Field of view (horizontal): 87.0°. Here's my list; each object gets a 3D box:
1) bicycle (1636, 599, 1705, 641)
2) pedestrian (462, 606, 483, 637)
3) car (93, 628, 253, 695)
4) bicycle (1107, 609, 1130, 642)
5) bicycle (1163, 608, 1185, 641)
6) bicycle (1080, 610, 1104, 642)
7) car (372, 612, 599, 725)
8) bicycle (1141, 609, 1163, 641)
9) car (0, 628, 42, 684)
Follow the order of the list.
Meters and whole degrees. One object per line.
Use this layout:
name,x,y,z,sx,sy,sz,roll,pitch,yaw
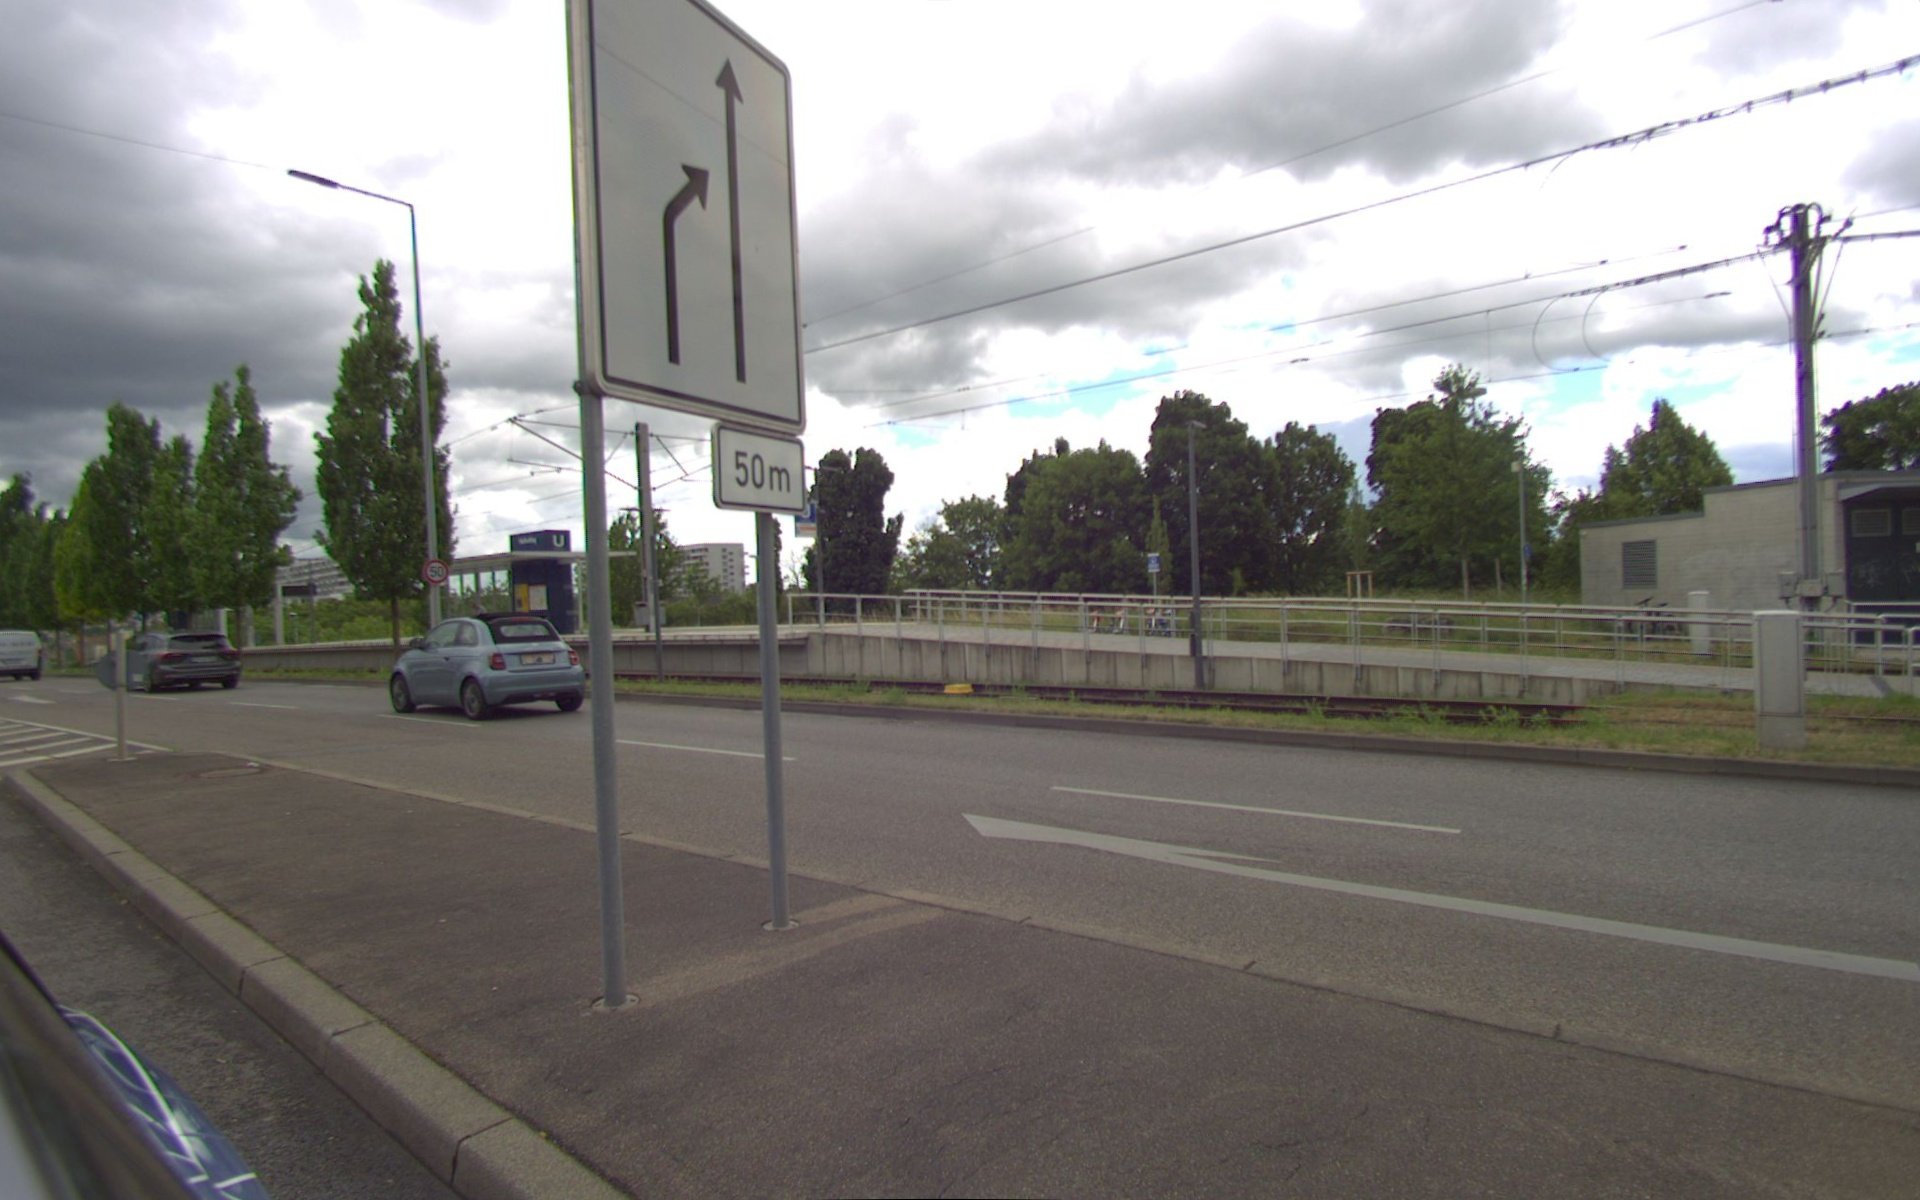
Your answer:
bicycle,18.291,0.504,26.101,0.529,1.039,1.813,-1,0,1
pedestrian,-18.282,0.806,37.941,0.447,1.163,0.593,-1,0,41
car,-19.555,1.459,25.091,4.421,1.435,1.855,-1,0,34
bicycle,5.398,0.854,34.445,0.531,1.039,1.804,-1,0,16
bicycle,7.138,0.804,33.702,0.531,1.039,1.804,-1,0,16
bicycle,4.540,0.885,34.771,0.531,1.039,1.804,-1,0,16
car,-7.468,0.971,15.844,3.594,1.540,1.740,-1,0,37
bicycle,6.454,0.822,33.992,0.531,1.039,1.804,-1,0,16
car,-37.095,2.113,38.771,5.364,1.979,1.897,-1,0,37
